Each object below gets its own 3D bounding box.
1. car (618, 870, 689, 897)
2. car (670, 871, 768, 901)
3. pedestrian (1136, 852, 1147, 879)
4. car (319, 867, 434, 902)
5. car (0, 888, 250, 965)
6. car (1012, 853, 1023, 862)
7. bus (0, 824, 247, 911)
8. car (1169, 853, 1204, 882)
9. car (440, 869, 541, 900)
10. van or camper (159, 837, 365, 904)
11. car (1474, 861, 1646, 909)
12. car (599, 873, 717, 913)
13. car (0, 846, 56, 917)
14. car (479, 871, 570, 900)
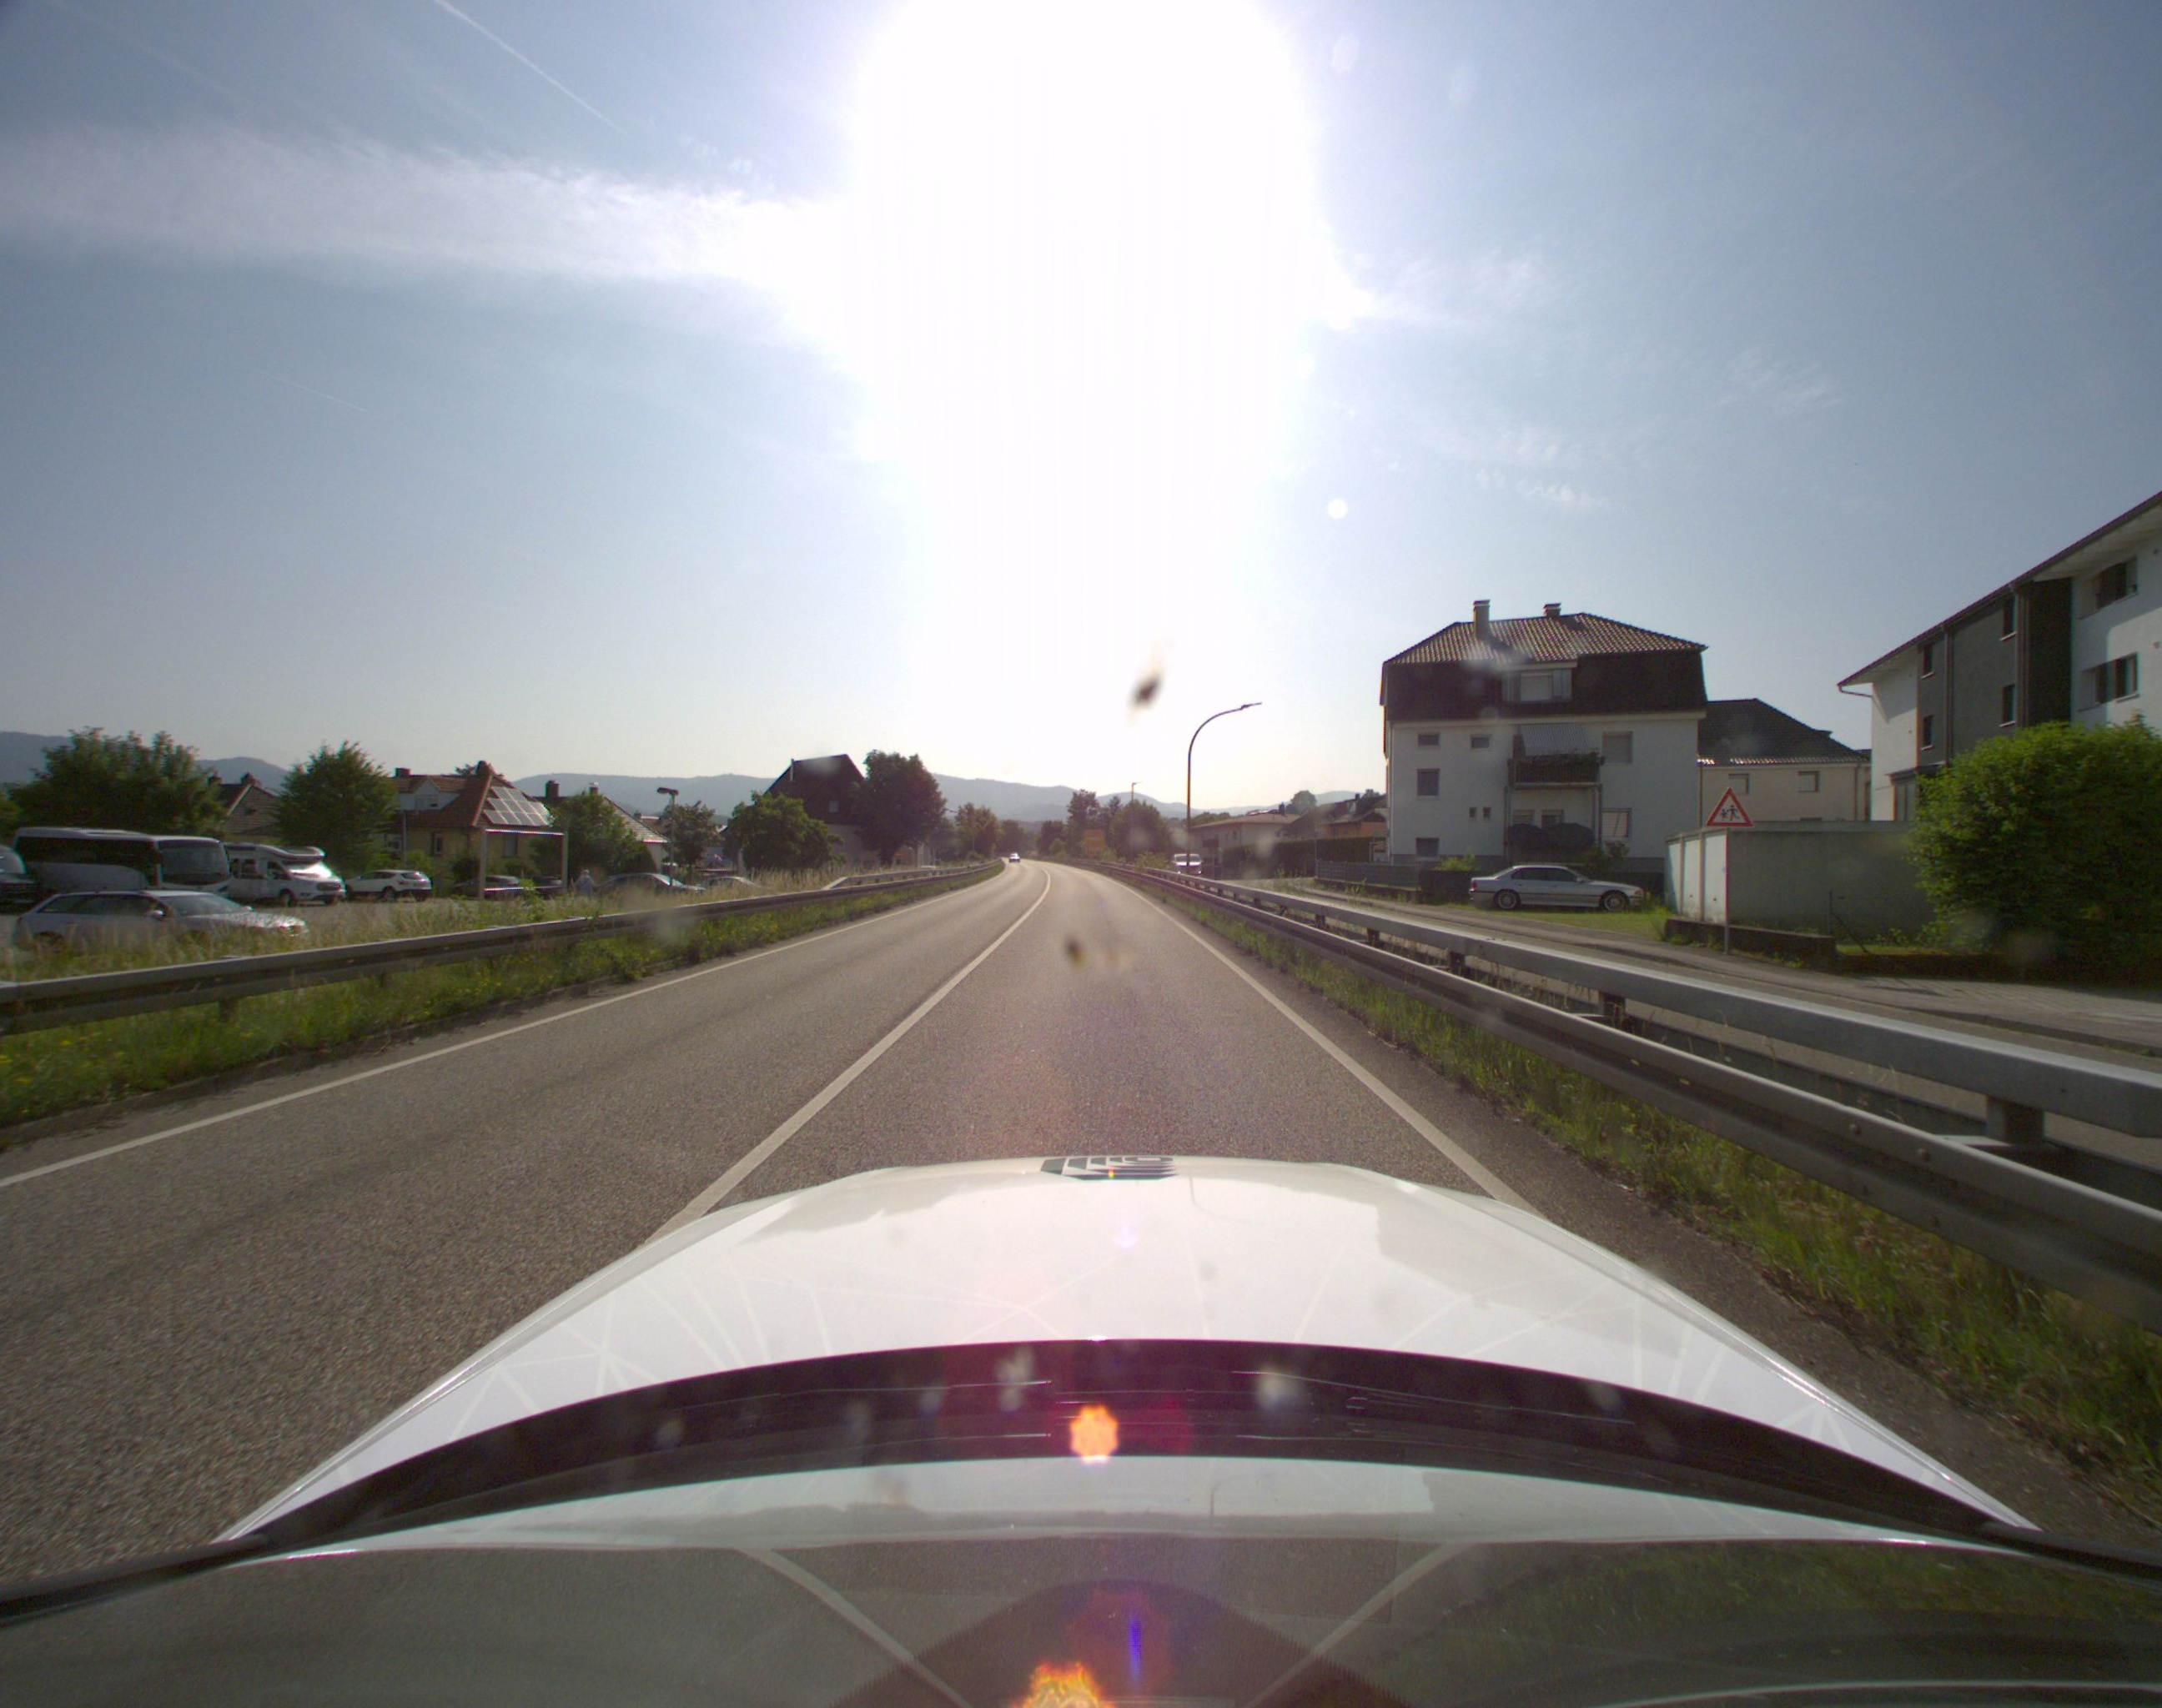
[{"bbox_3d":[-30.886,2.140,58.897,4.131,1.634,1.867,3,-2,11],"label":"car"},{"bbox_3d":[-19.010,1.675,42.918,4.284,1.504,1.874,0,0,1],"label":"car"},{"bbox_3d":[4.631,0.862,62.302,0.785,2.013,0.997,0,0,0],"label":"pedestrian"},{"bbox_3d":[-36.186,1.524,41.898,4.533,1.633,1.866,1,0,7],"label":"car"},{"bbox_3d":[-20.119,1.426,16.494,4.605,1.382,1.741,0,0,-4],"label":"car"},{"bbox_3d":[-10.399,0.525,133.630,1.754,1.410,3.985,-2,0,-3],"label":"car"},{"bbox_3d":[-40.723,0.491,34.448,9.049,3.354,2.671,1,1,7],"label":"bus"},{"bbox_3d":[7.567,0.948,58.675,1.986,1.945,5.364,0,0,2],"label":"car"},{"bbox_3d":[-33.905,1.765,46.816,4.533,1.634,1.865,1,-2,7],"label":"car"},{"bbox_3d":[-37.916,0.733,37.796,7.353,2.842,2.753,1,0,7],"label":"van or camper"},{"bbox_3d":[15.061,0.964,25.878,4.553,1.348,1.766,-1,1,28],"label":"car"},{"bbox_3d":[-18.985,1.742,36.687,4.289,1.665,1.872,0,0,-3],"label":"car"},{"bbox_3d":[-42.935,1.003,31.398,4.994,2.660,1.866,1,0,7],"label":"car"},{"bbox_3d":[-33.951,1.896,49.728,4.529,1.634,1.867,1,-2,11],"label":"car"}]
